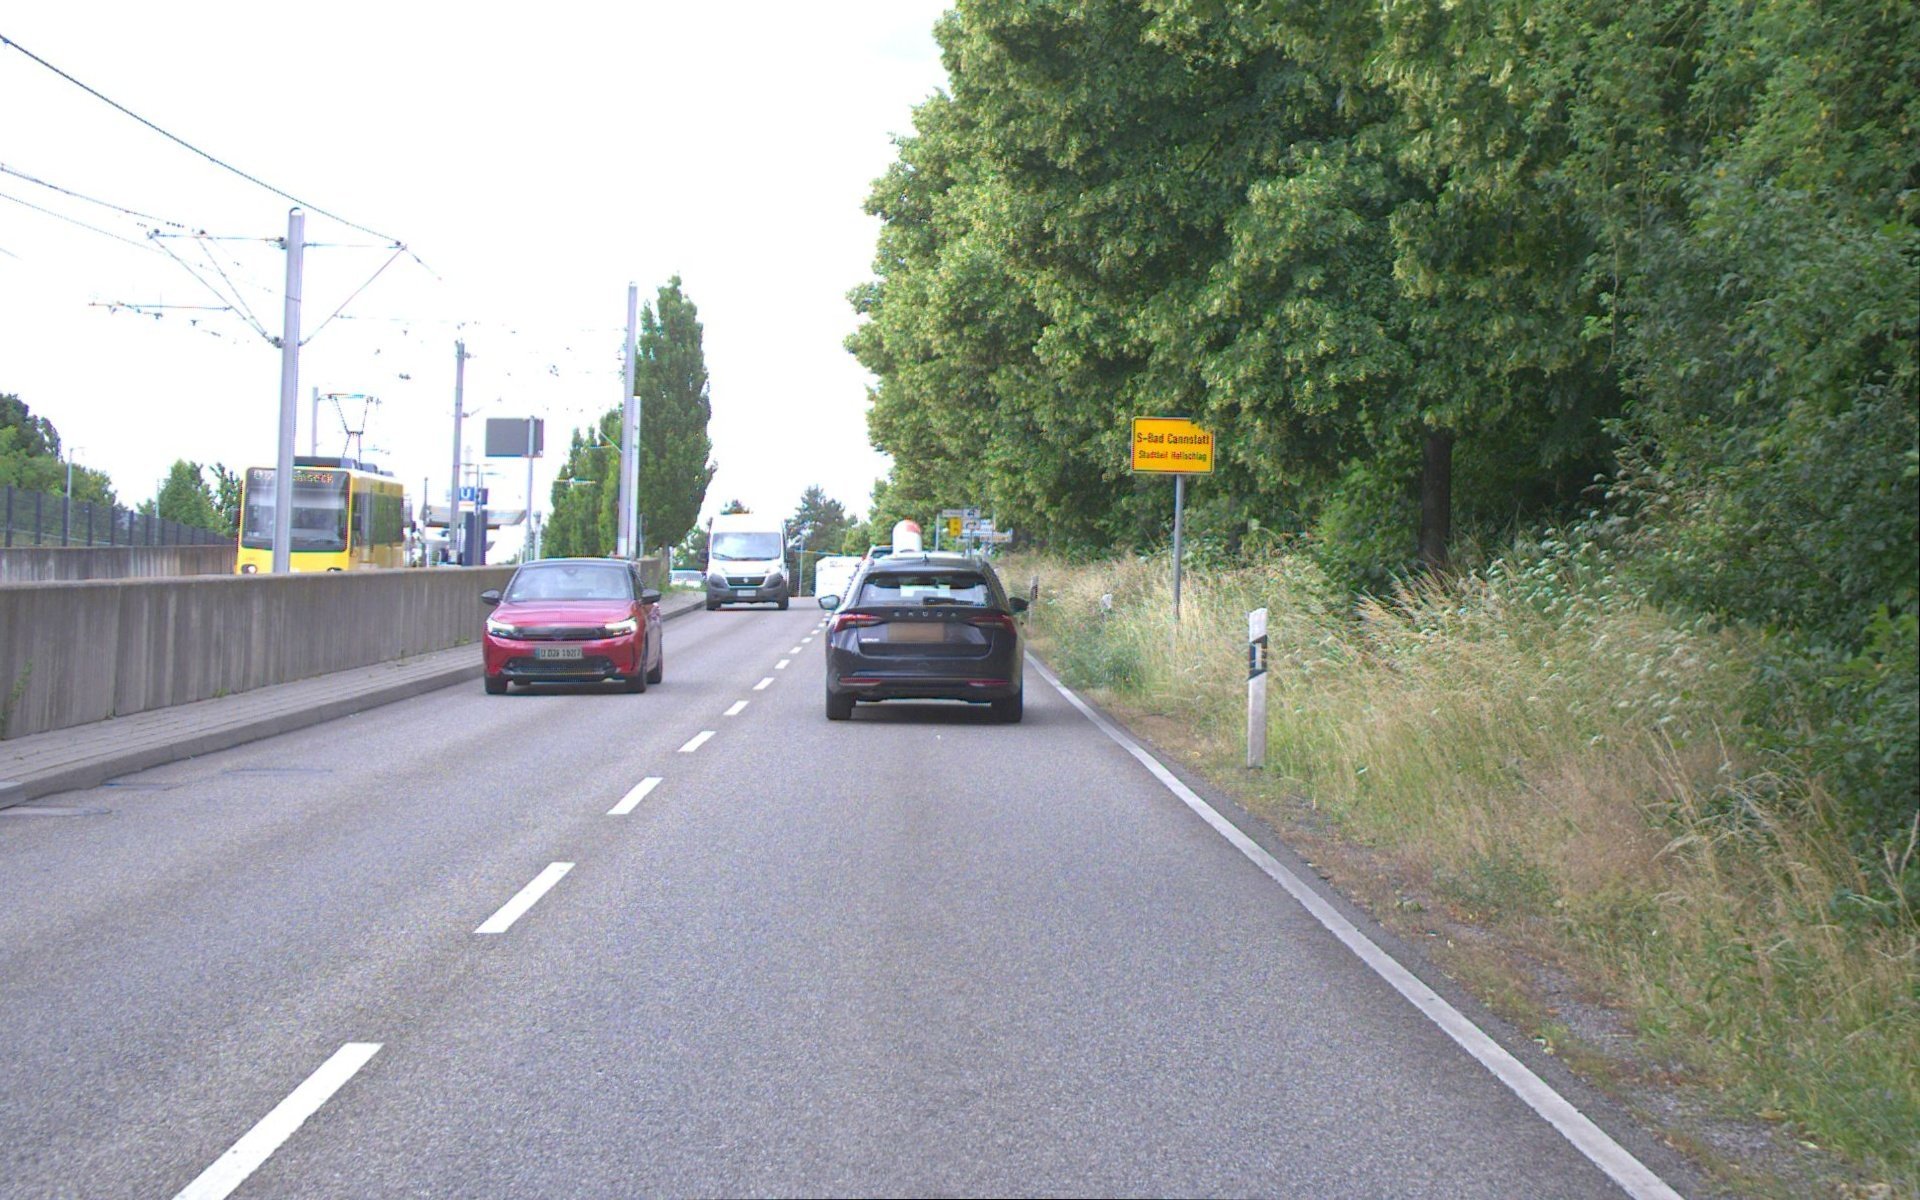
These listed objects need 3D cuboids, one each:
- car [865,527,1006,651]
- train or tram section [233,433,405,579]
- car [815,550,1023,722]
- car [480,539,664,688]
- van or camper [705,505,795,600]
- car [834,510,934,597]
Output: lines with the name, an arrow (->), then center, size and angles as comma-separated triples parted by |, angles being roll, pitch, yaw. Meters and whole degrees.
car -> -0.380, -0.186, 50.626 | 1.993, 1.747, 4.000 | 0, 1, -1
train or tram section -> -15.522, -2.098, 84.517 | 2.811, 3.106, 18.919 | 0, 0, -6
car -> -0.379, 0.281, 31.493 | 1.781, 1.463, 4.000 | 0, 1, -1
car -> -4.194, 0.111, 37.638 | 1.662, 1.540, 3.953 | 0, 1, -1
van or camper -> -5.438, -1.244, 89.633 | 2.082, 2.388, 6.138 | 0, 1, -1
car -> -1.564, -0.948, 71.404 | 1.993, 1.734, 4.000 | 0, 0, -1
